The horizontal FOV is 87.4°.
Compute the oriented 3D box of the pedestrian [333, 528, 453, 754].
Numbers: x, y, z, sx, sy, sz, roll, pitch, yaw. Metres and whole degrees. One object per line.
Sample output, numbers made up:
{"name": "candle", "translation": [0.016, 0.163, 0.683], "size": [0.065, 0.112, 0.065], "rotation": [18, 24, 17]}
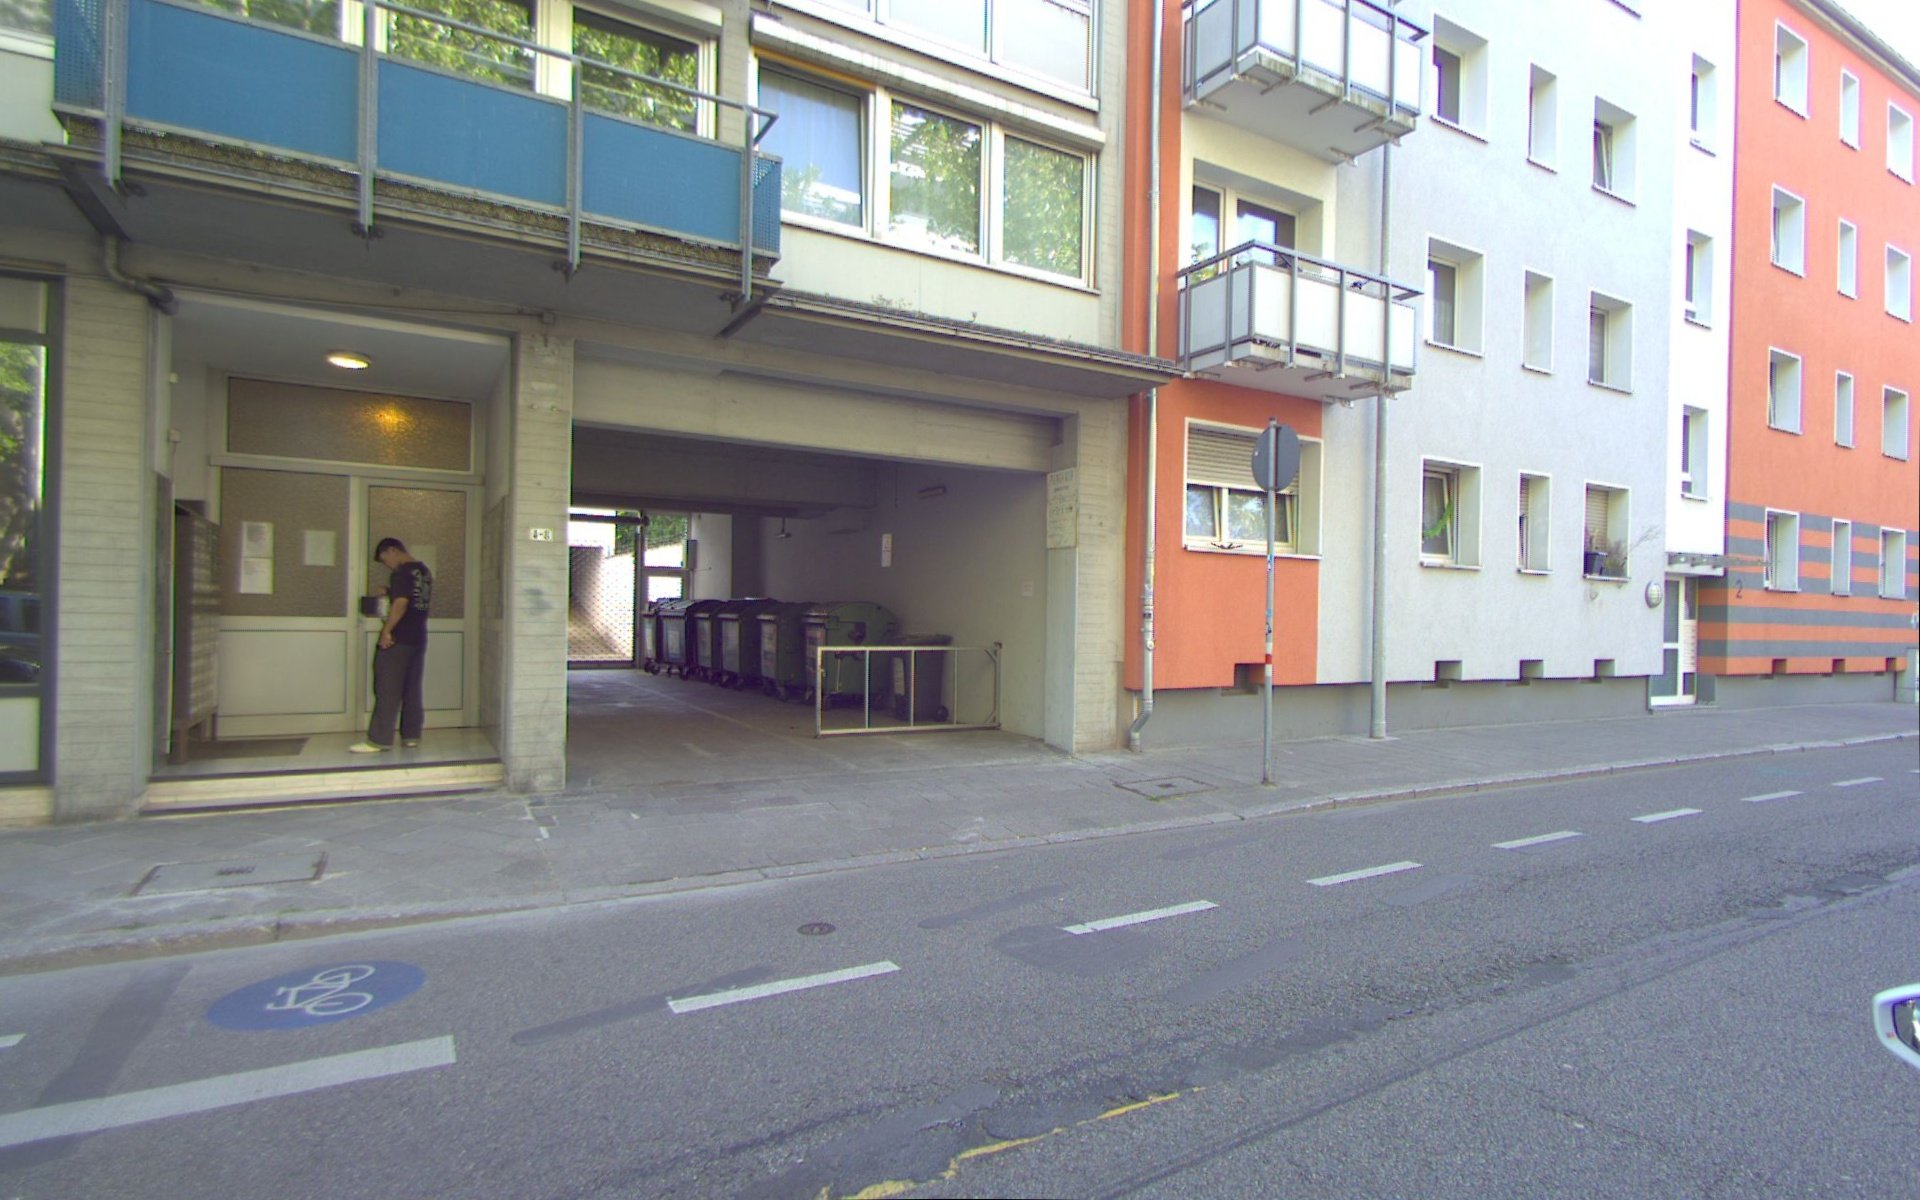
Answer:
{"name": "pedestrian", "translation": [-4.546, 0.316, 8.090], "size": [0.537, 1.736, 0.662], "rotation": [1, 0, 3]}

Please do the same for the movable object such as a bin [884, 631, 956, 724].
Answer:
{"name": "movable object such as a bin", "translation": [-0.500, 0.943, 12.459], "size": [0.687, 1.094, 0.579], "rotation": [1, 0, -30]}

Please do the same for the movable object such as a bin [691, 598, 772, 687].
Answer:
{"name": "movable object such as a bin", "translation": [-4.027, 0.723, 17.665], "size": [1.080, 1.503, 1.159], "rotation": [1, 0, -30]}

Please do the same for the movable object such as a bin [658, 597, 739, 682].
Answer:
{"name": "movable object such as a bin", "translation": [-4.884, 0.711, 18.692], "size": [1.167, 1.503, 1.215], "rotation": [1, 0, -30]}

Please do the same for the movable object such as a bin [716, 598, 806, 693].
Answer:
{"name": "movable object such as a bin", "translation": [-3.301, 0.725, 16.641], "size": [1.167, 1.503, 1.073], "rotation": [1, 0, -30]}

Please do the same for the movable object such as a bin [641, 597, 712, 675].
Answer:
{"name": "movable object such as a bin", "translation": [-5.629, 0.707, 19.943], "size": [1.167, 1.503, 0.819], "rotation": [1, 0, -30]}

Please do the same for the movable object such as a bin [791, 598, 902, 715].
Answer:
{"name": "movable object such as a bin", "translation": [-1.570, 0.741, 13.775], "size": [1.086, 1.503, 1.251], "rotation": [1, 0, -30]}

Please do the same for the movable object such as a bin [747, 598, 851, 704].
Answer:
{"name": "movable object such as a bin", "translation": [-2.434, 0.732, 15.137], "size": [1.167, 1.503, 1.252], "rotation": [1, 0, -30]}
